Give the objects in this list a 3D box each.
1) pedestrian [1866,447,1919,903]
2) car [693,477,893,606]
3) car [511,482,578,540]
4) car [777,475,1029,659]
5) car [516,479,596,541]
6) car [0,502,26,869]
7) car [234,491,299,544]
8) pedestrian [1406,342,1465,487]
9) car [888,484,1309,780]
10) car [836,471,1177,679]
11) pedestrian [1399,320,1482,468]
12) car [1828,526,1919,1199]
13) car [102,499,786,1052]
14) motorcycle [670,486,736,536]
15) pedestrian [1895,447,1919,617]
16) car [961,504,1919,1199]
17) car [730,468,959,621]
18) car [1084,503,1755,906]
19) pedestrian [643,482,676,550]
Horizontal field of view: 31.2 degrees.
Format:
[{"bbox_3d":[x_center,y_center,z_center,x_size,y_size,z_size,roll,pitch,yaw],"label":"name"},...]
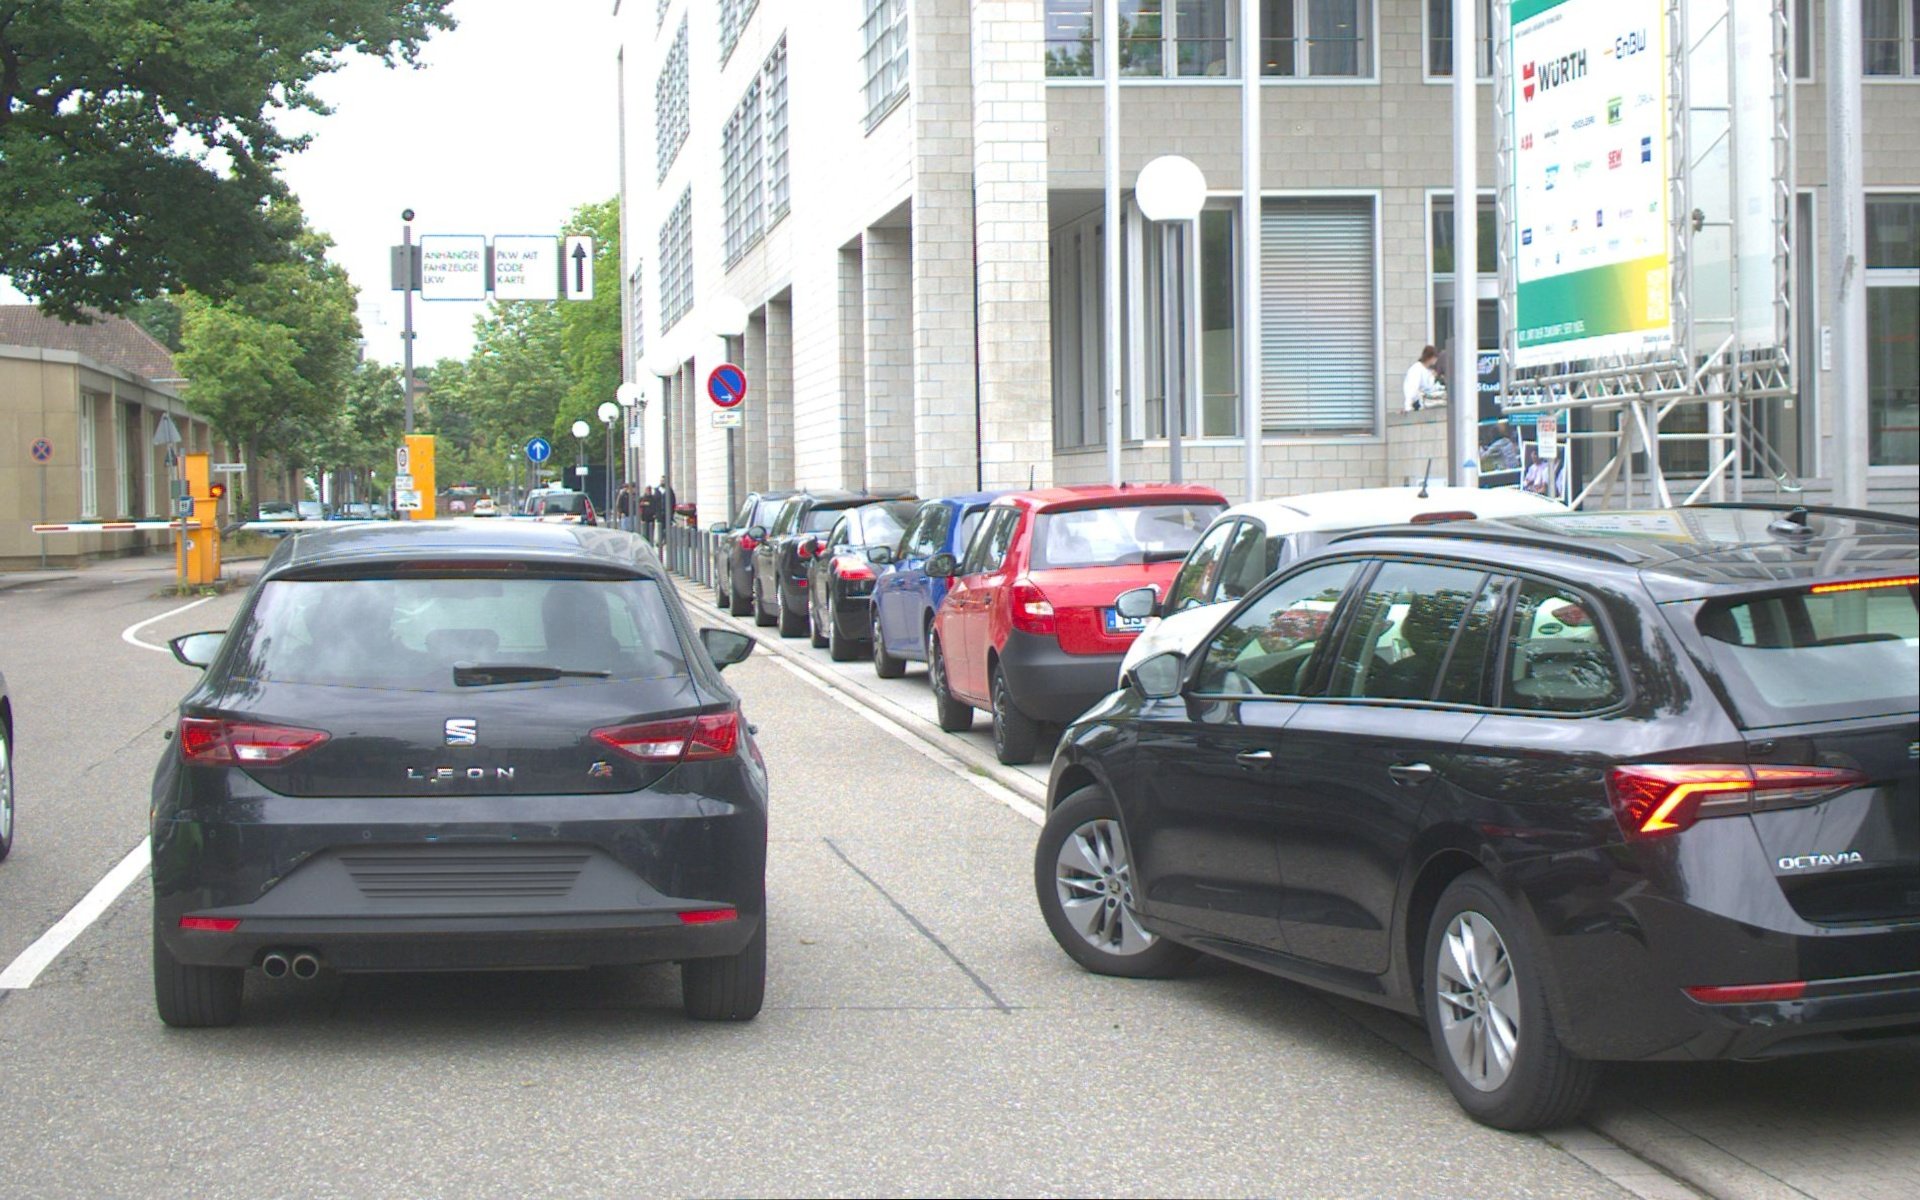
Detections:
[{"bbox_3d":[4.122,0.281,13.807,0.791,1.781,0.821,0,1,4],"label":"pedestrian"},{"bbox_3d":[-2.097,-0.736,41.818,1.993,1.447,4.924,-1,2,-8],"label":"car"},{"bbox_3d":[-13.597,-2.923,112.315,1.993,1.776,4.429,-2,2,-8],"label":"car"},{"bbox_3d":[-0.591,-0.361,31.200,1.848,1.437,4.420,0,3,-7],"label":"car"},{"bbox_3d":[-11.261,-2.490,95.634,1.993,1.617,4.429,-2,1,-9],"label":"car"},{"bbox_3d":[-4.615,0.402,12.555,1.782,1.492,4.169,-1,2,-8],"label":"car"},{"bbox_3d":[-21.449,-2.579,106.407,1.769,1.595,4.001,0,2,-9],"label":"car"},{"bbox_3d":[5.518,-2.153,39.889,0.629,1.652,0.807,1,4,8],"label":"pedestrian"},{"bbox_3d":[0.706,0.096,20.451,1.712,1.468,4.275,-3,3,-8],"label":"car"},{"bbox_3d":[0.255,-0.234,26.086,1.694,1.406,4.378,-2,2,-11],"label":"car"},{"bbox_3d":[5.447,-2.335,38.951,0.805,1.652,0.631,2,4,17],"label":"pedestrian"},{"bbox_3d":[2.858,0.614,5.090,1.622,1.496,4.106,-3,2,-7],"label":"car"},{"bbox_3d":[-1.658,0.395,11.114,1.782,1.414,4.131,0,2,-9],"label":"car"},{"bbox_3d":[-6.513,-2.262,87.313,0.760,1.144,2.661,2,4,17],"label":"motorcycle"},{"bbox_3d":[9.693,-0.672,33.778,0.755,1.664,0.705,-1,1,-7],"label":"pedestrian"},{"bbox_3d":[1.654,0.489,9.647,1.860,1.396,4.480,-4,3,-19],"label":"car"},{"bbox_3d":[-1.280,-0.627,36.037,1.817,1.438,4.522,-2,2,-9],"label":"car"},{"bbox_3d":[1.783,0.325,14.615,1.860,1.448,3.860,-1,2,-8],"label":"car"},{"bbox_3d":[-7.579,-2.124,86.643,0.727,1.693,0.588,0,4,-13],"label":"pedestrian"}]
